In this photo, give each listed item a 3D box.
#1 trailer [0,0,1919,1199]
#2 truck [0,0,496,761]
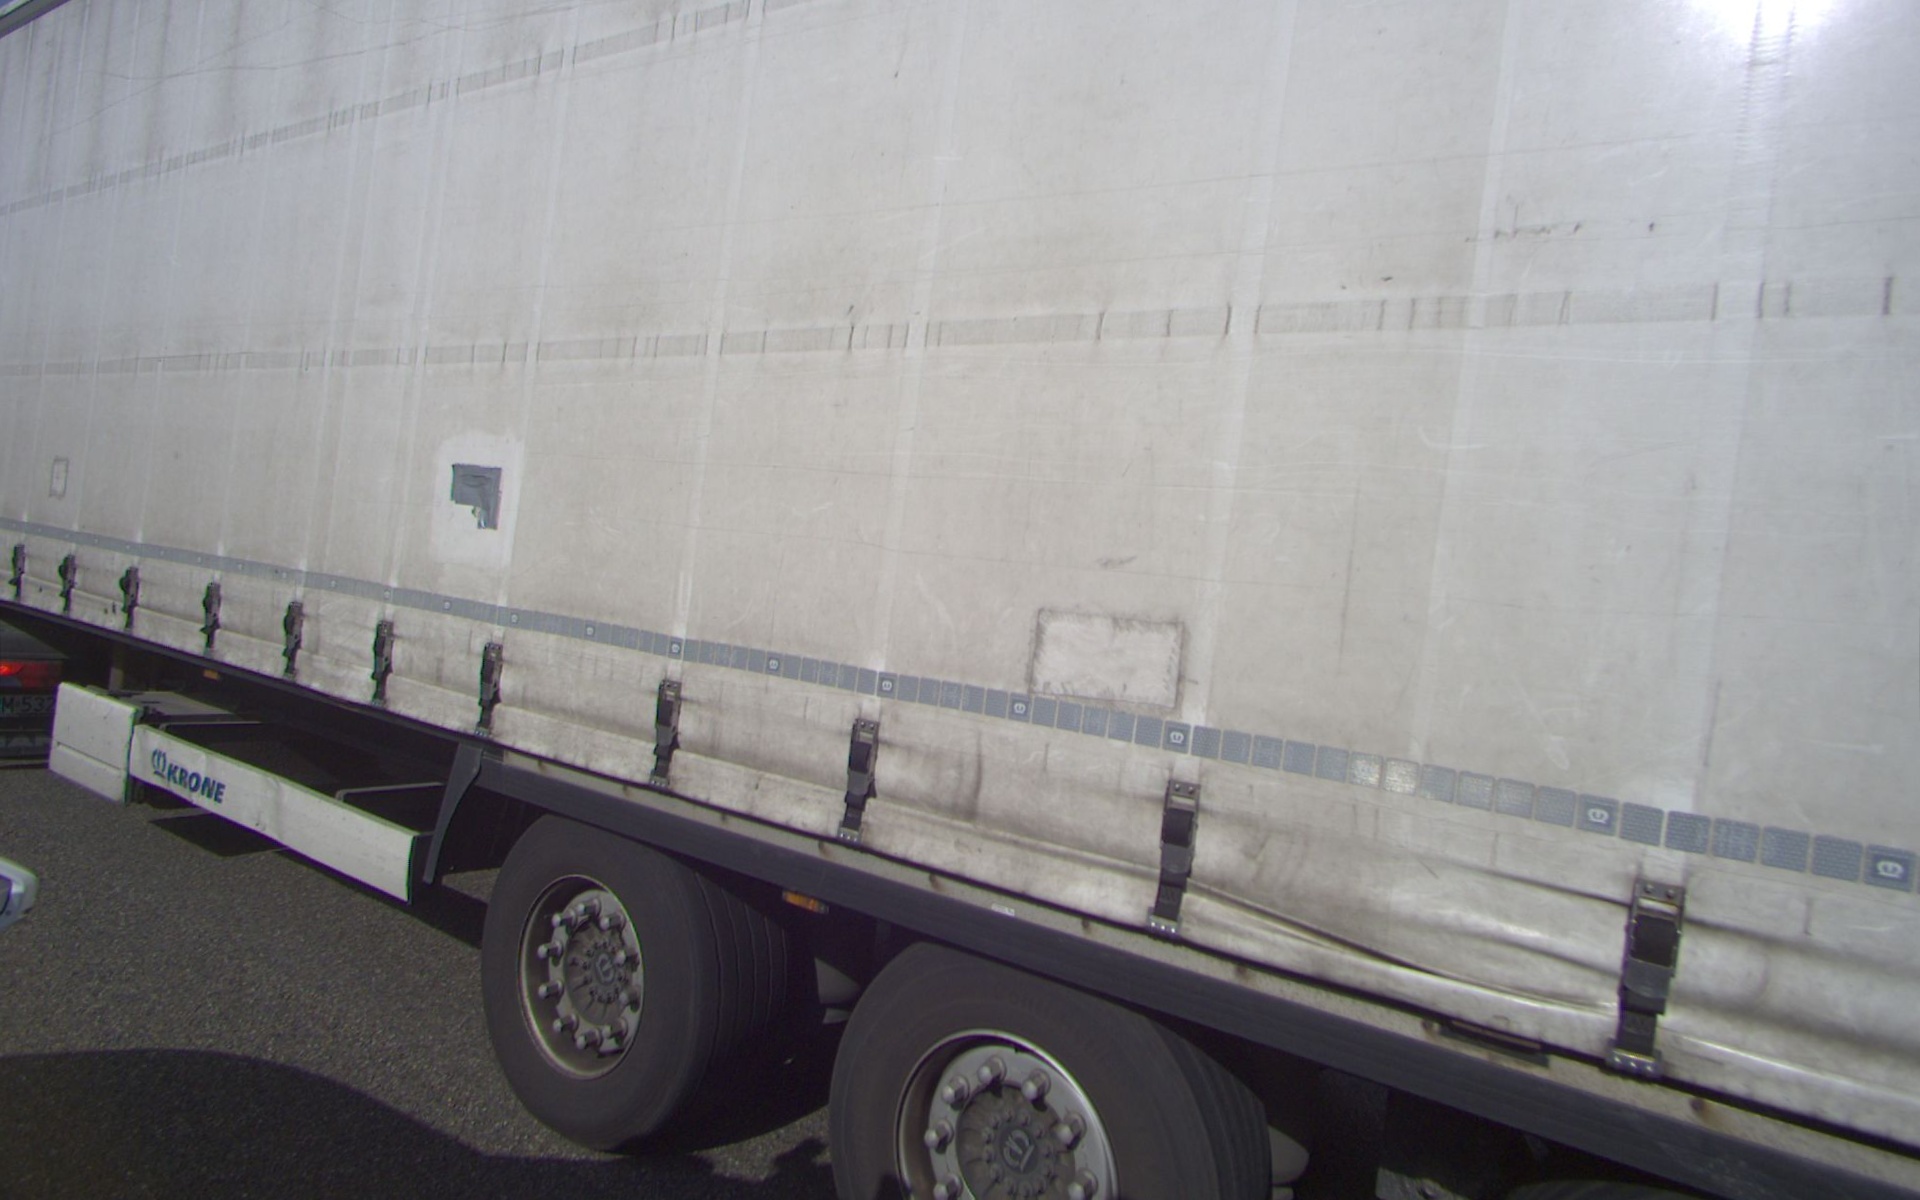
[{"bbox_3d":[-0.778,-0.679,3.979,12.729,4.131,2.707,7,0,32],"label":"trailer"},{"bbox_3d":[-6.956,-1.402,7.808,6.256,4.108,2.712,7,-1,32],"label":"truck"}]
